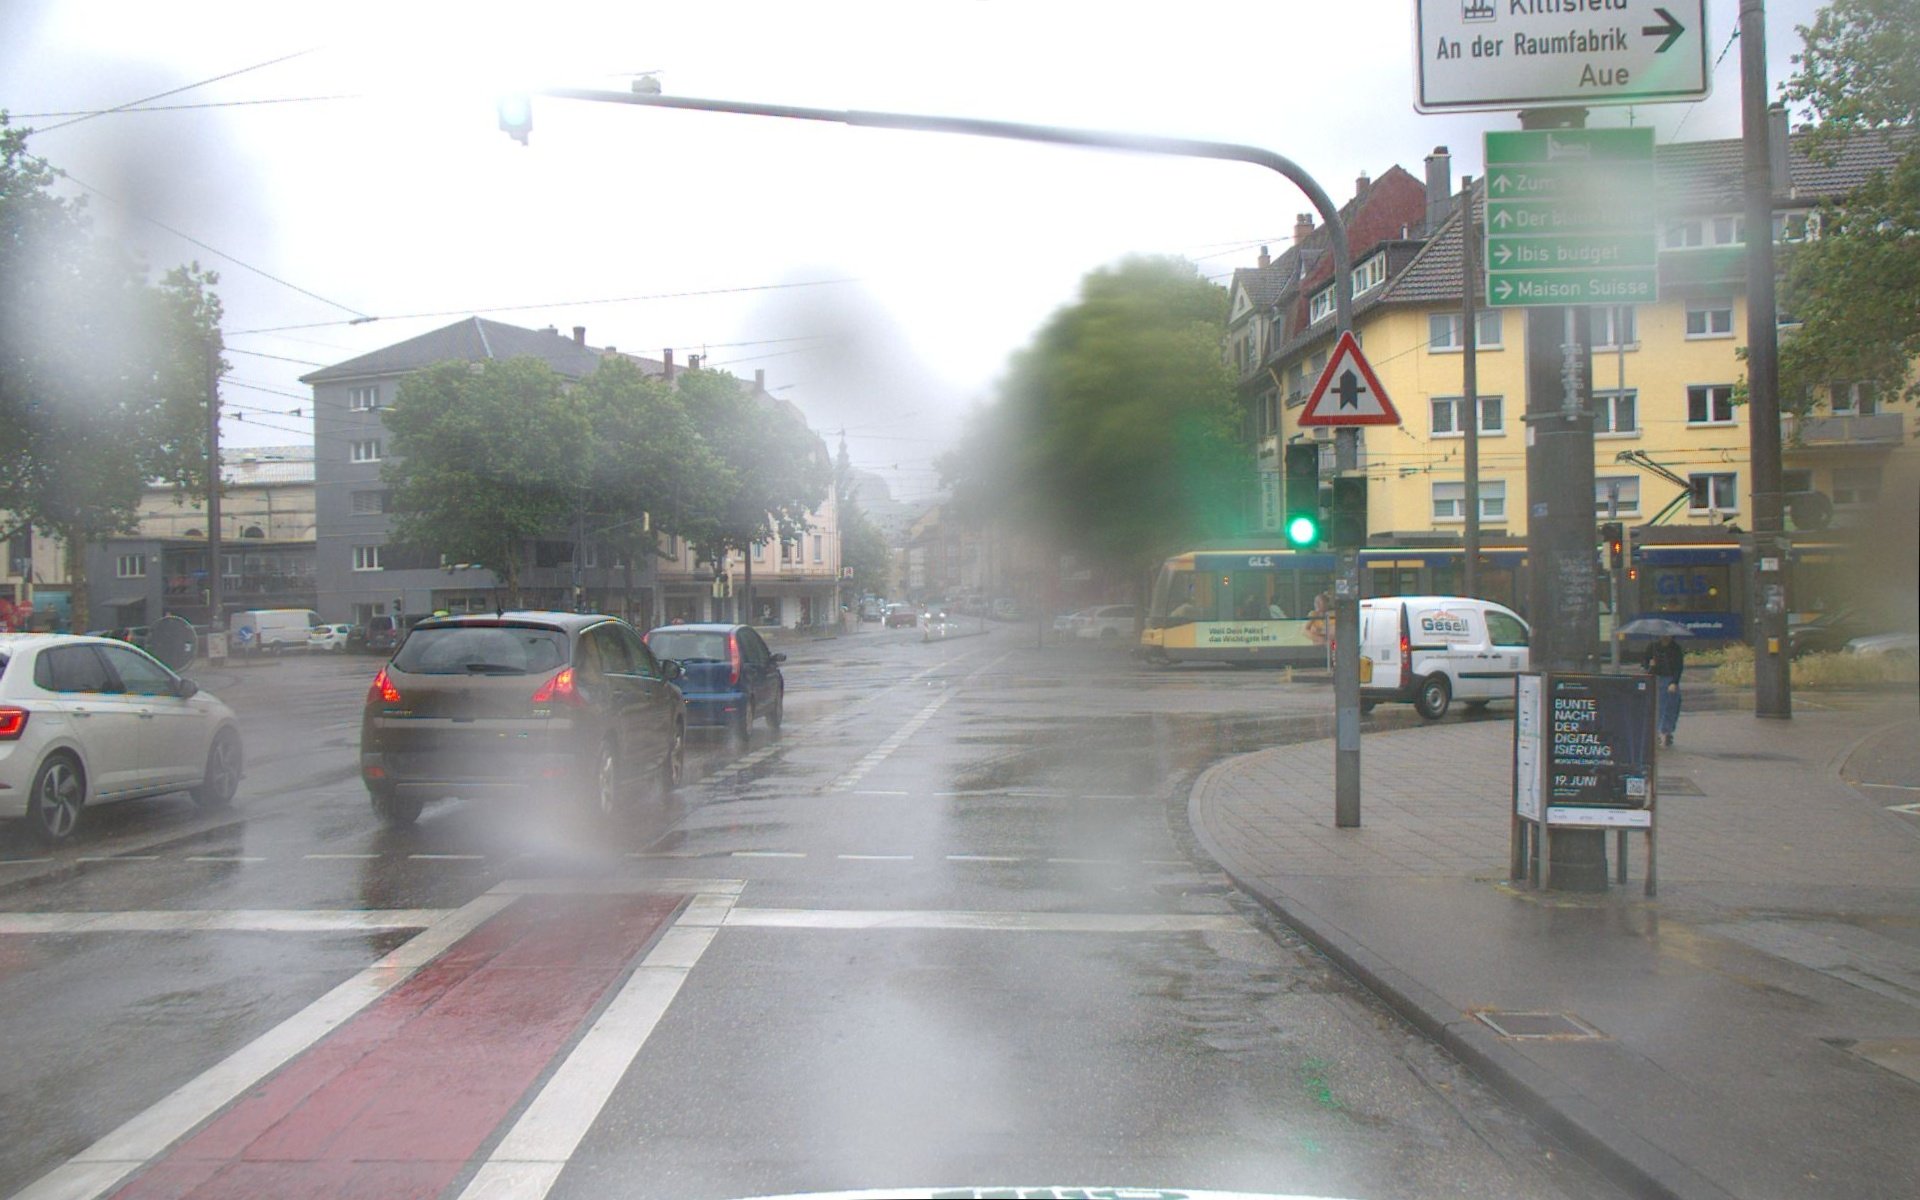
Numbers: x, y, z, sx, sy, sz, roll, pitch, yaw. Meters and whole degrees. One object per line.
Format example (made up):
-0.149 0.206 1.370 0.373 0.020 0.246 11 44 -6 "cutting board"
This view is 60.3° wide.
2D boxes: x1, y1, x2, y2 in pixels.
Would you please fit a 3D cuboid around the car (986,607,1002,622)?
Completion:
3.328 1.404 160.813 1.445 1.387 3.461 1 -1 0 "car"

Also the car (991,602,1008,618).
3.704 0.953 154.266 1.445 1.387 3.461 1 -1 0 "car"

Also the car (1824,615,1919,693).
20.581 1.090 34.300 4.390 1.515 1.742 -1 0 12 "car"

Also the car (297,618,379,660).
-31.823 1.986 84.763 1.951 2.049 4.003 -1 0 15 "car"

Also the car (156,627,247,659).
-39.678 2.266 86.615 1.953 1.642 3.998 -1 -2 23 "car"

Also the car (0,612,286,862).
-6.912 0.906 12.669 1.770 1.563 4.190 -1 0 0 "car"

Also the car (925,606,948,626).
-2.157 1.466 151.474 1.953 1.718 3.998 1 -1 -2 "car"

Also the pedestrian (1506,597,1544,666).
14.303 0.793 41.857 0.796 1.707 1.016 -1 0 25 "pedestrian"

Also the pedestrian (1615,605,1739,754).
8.535 0.911 19.686 1.087 1.696 0.991 0 0 45 "pedestrian"

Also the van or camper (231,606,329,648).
-34.806 1.393 84.810 1.953 2.112 4.654 -1 -1 22 "van or camper"

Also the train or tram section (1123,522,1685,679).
11.689 -0.022 44.157 14.247 3.620 3.113 -2 0 -5 "train or tram section"

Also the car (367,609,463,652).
-27.150 1.502 82.577 2.022 2.049 4.391 0 0 29 "car"

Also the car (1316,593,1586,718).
7.817 0.813 26.268 4.057 1.828 1.891 0 0 -30 "car"

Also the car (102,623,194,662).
-43.500 2.288 88.672 1.955 2.049 3.994 0 -2 28 "car"

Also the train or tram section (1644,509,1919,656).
25.911 -0.556 43.405 14.314 3.620 3.119 -2 0 10 "train or tram section"

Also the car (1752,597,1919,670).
20.442 0.736 37.410 4.179 1.528 1.881 -1 0 8 "car"

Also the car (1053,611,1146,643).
7.355 1.420 87.295 4.486 1.584 2.000 -1 0 22 "car"

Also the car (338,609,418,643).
-29.677 1.309 84.442 1.880 1.646 4.003 -1 0 15 "car"

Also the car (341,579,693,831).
-3.405 0.715 13.545 1.765 1.739 4.190 0 0 0 "car"

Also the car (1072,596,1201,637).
7.171 0.641 67.341 4.882 1.500 1.996 -2 0 -10 "car"

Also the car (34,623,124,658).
-49.033 2.241 92.157 1.956 1.795 3.994 -1 0 29 "car"

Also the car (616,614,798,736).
-3.286 1.016 22.156 1.844 1.485 3.830 0 -3 0 "car"
